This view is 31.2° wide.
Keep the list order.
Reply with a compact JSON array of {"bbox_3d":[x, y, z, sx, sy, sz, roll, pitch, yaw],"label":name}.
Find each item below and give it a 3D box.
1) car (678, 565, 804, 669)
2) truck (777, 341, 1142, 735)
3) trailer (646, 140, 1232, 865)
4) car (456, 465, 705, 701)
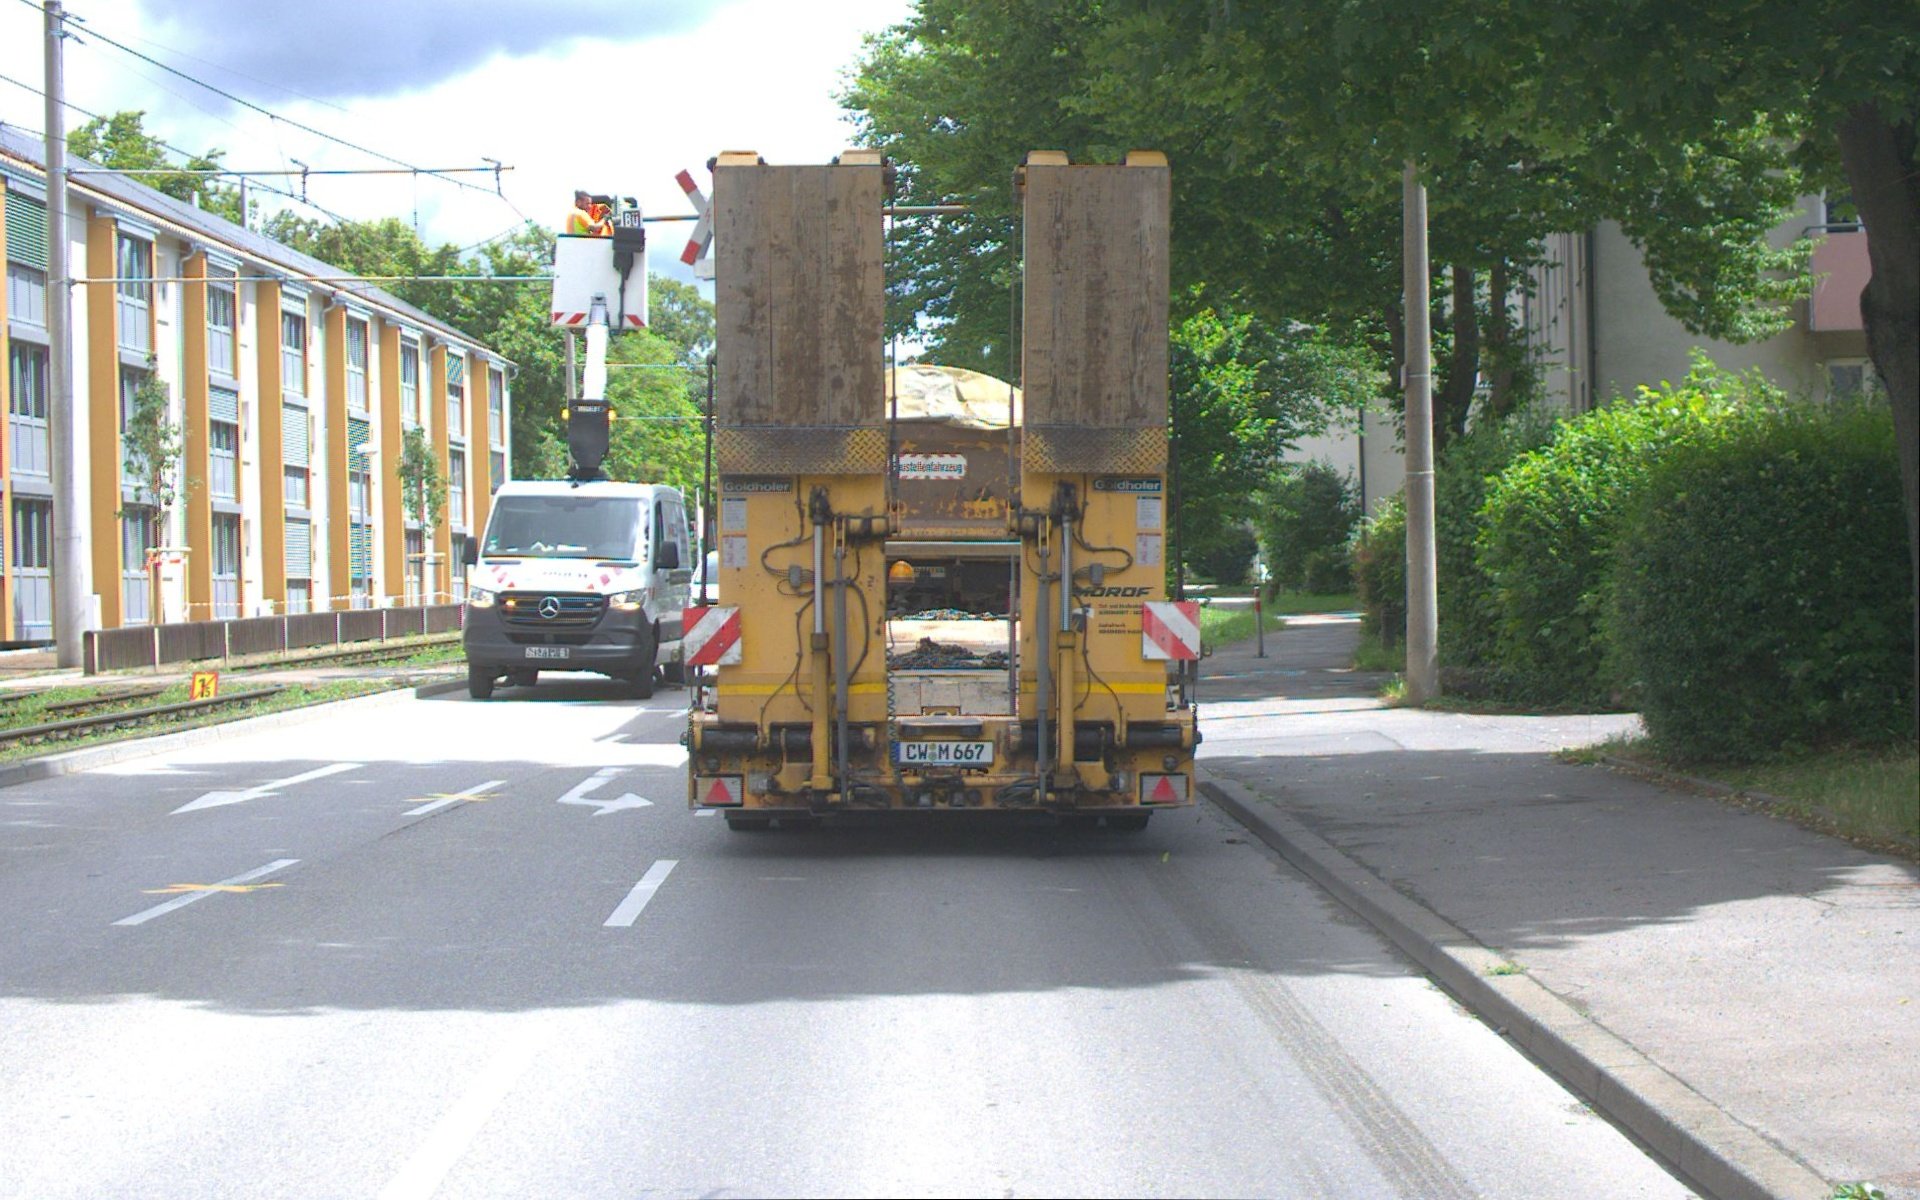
[{"bbox_3d":[-3.371,0.234,53.552,1.718,1.547,3.917,0,0,0],"label":"car"},{"bbox_3d":[0.027,-0.551,31.678,2.917,3.156,7.680,1,1,1],"label":"truck"},{"bbox_3d":[-0.076,-0.540,22.310,2.822,3.512,11.052,1,1,0],"label":"trailer"},{"bbox_3d":[-4.131,-0.215,38.440,1.993,2.422,6.322,0,1,1],"label":"car"}]
